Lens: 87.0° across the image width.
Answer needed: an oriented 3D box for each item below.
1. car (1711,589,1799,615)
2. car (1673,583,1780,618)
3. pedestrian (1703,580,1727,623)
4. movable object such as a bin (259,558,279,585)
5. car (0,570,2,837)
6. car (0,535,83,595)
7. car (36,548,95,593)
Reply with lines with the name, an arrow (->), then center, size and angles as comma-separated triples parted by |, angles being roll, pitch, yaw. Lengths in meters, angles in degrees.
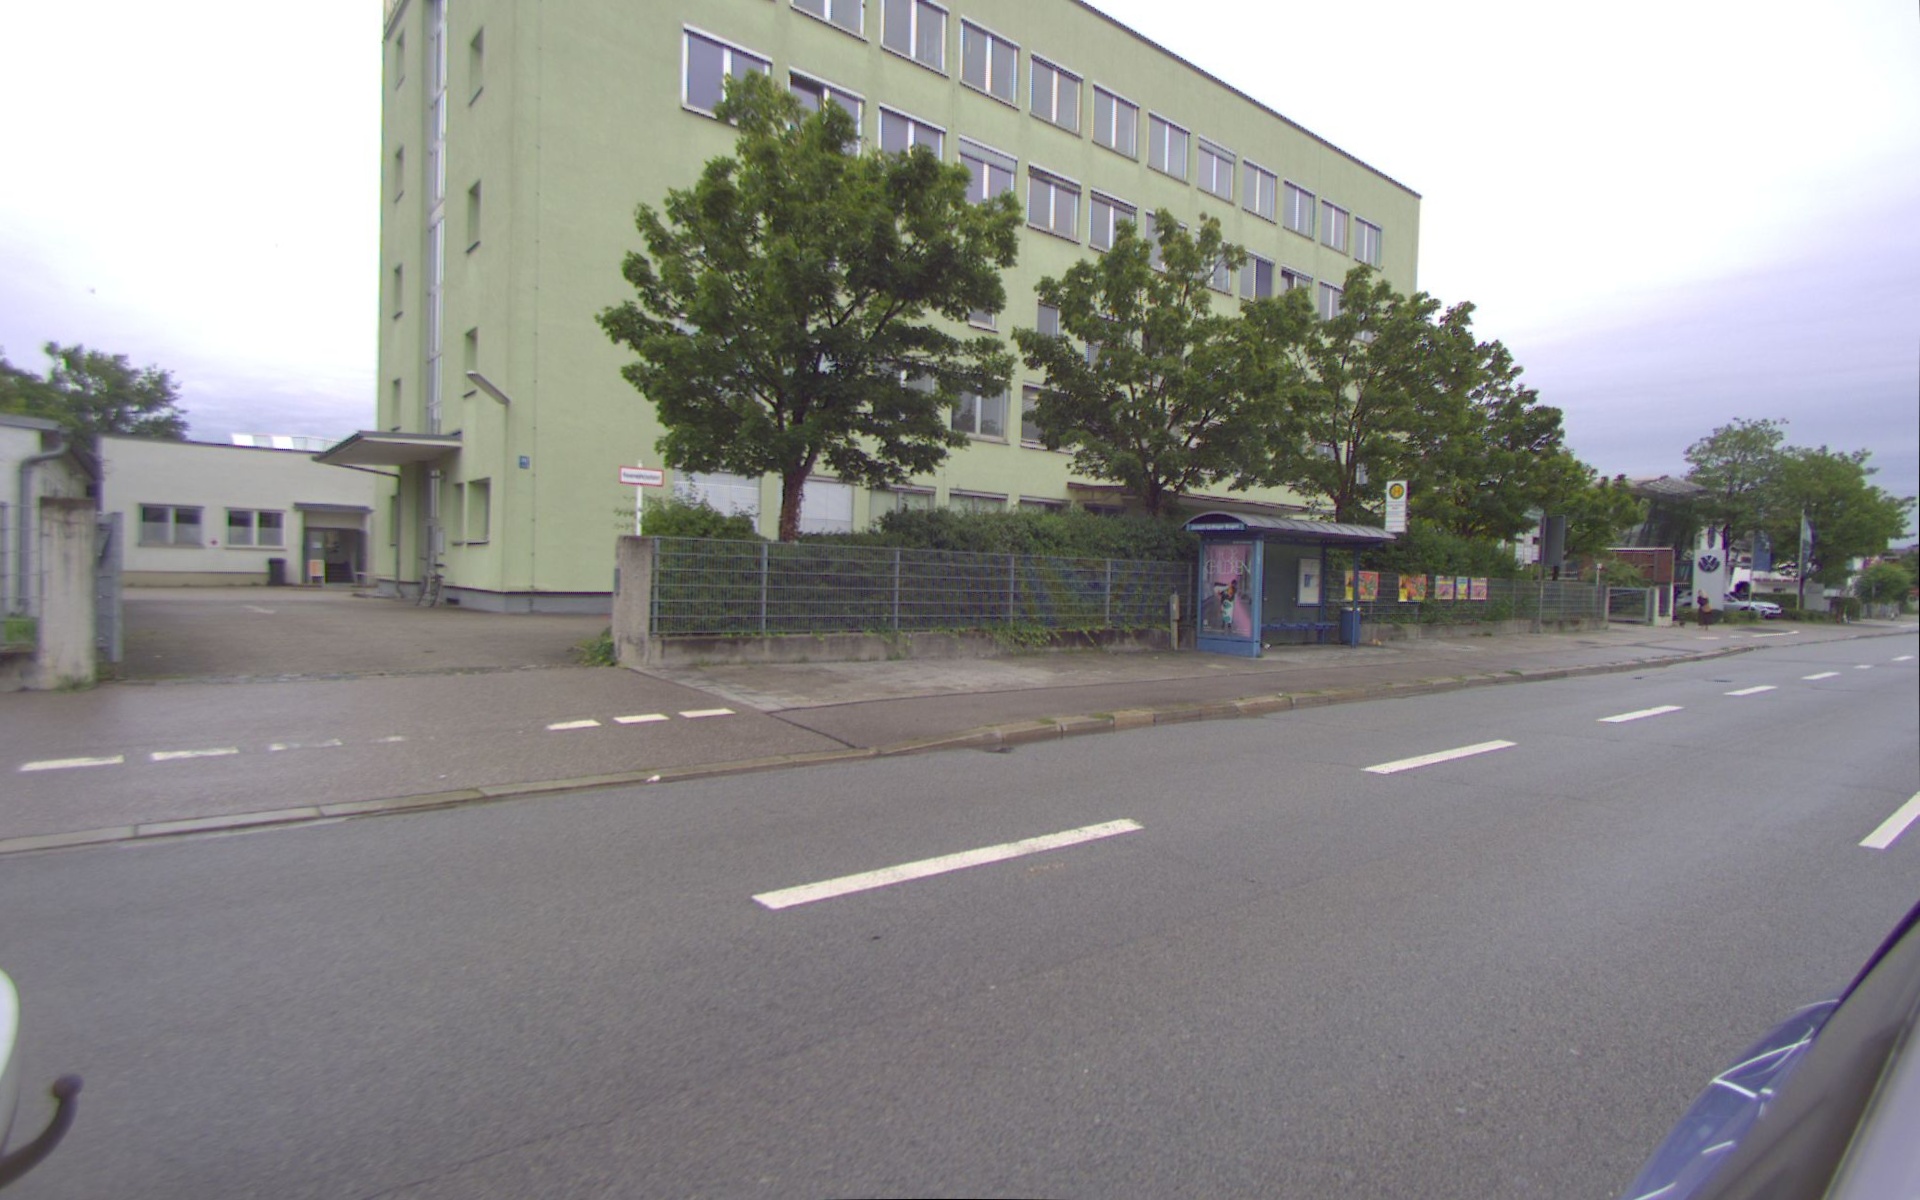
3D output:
car -> 50.131, 0.094, 63.909 | 1.763, 1.528, 4.009 | 0, 1, -19
car -> 43.861, 0.006, 58.015 | 4.603, 1.865, 1.784 | 1, 1, 28
pedestrian -> 32.261, 0.059, 43.269 | 0.676, 1.844, 0.682 | 0, 0, -41
movable object such as a bin -> -26.198, -1.081, 38.368 | 0.562, 1.006, 0.700 | 0, 0, -40
car -> -3.610, 0.682, 0.532 | 4.424, 1.486, 1.881 | 0, 1, -42
car -> -24.020, -0.858, 24.621 | 4.023, 1.415, 1.768 | 0, 1, -41
car -> -32.669, -1.055, 36.972 | 1.537, 1.539, 3.700 | 0, 1, -42
